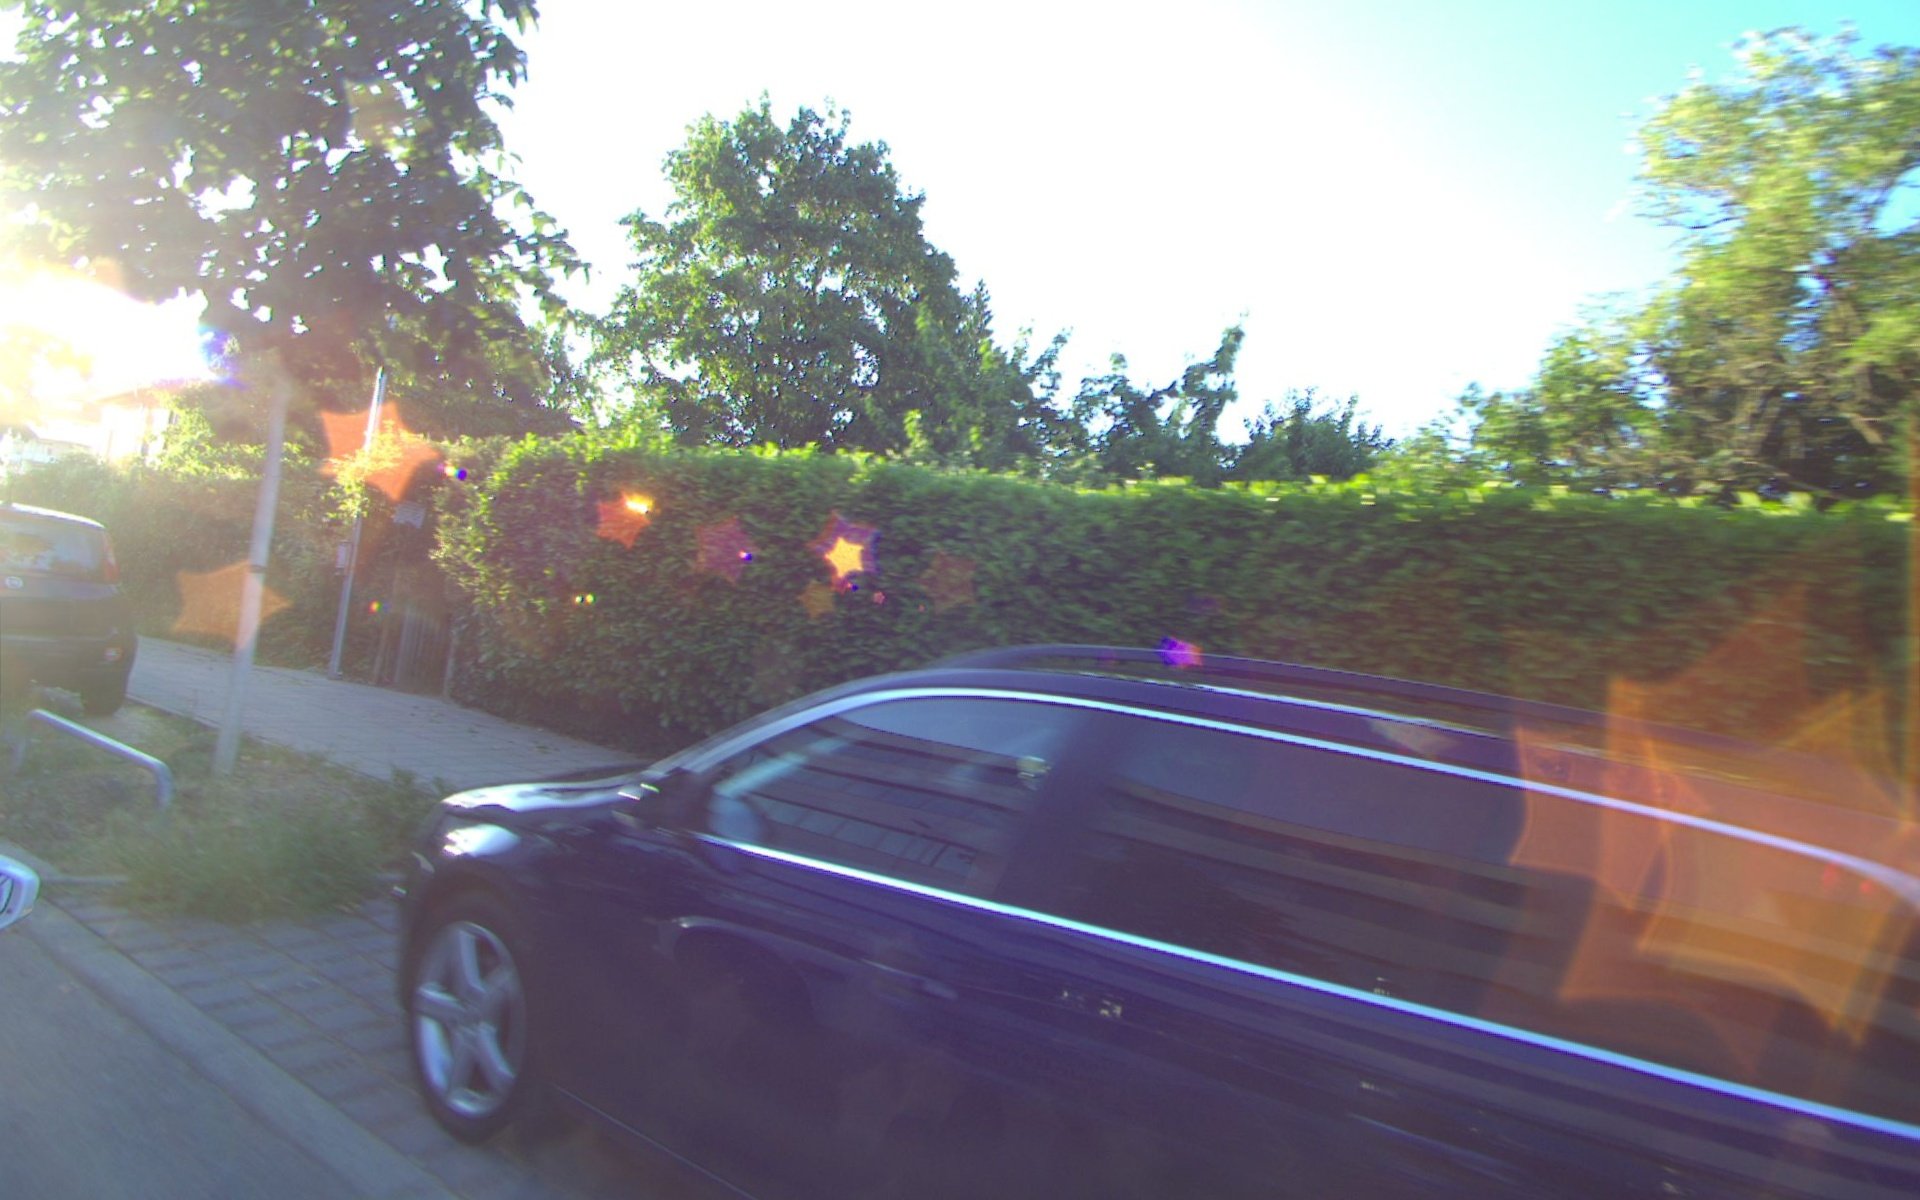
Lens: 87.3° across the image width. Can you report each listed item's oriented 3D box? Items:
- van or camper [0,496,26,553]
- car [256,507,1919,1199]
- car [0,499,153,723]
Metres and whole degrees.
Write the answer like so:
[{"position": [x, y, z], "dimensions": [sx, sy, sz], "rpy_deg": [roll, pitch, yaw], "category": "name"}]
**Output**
[{"position": [-52.676, -4.348, 52.317], "dimensions": [2.395, 2.822, 5.607], "rpy_deg": [7, -2, 41], "category": "van or camper"}, {"position": [0.245, 0.814, 2.640], "dimensions": [4.474, 1.567, 1.714], "rpy_deg": [7, -3, 33], "category": "car"}, {"position": [-8.029, -0.057, 7.954], "dimensions": [3.442, 1.526, 1.579], "rpy_deg": [5, -3, 36], "category": "car"}]
